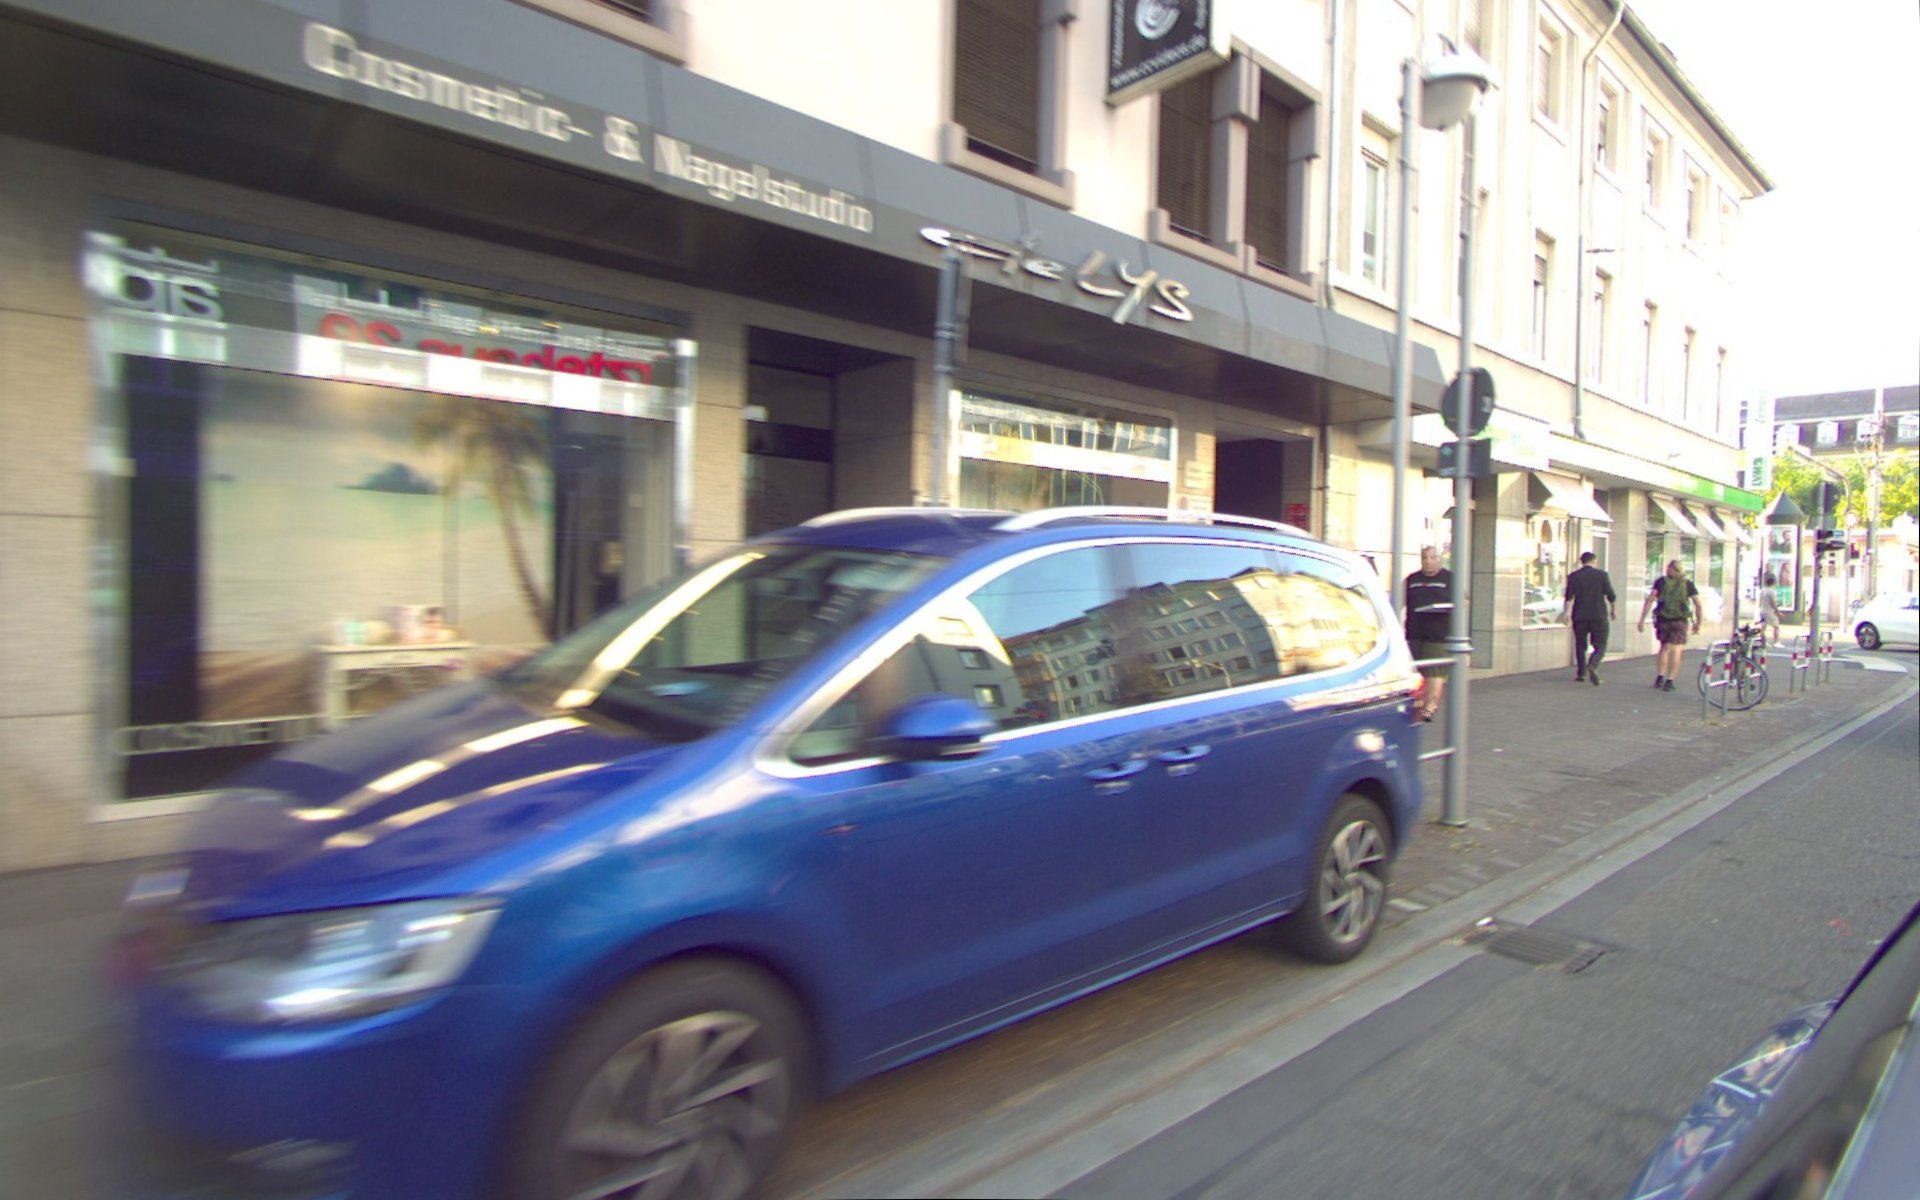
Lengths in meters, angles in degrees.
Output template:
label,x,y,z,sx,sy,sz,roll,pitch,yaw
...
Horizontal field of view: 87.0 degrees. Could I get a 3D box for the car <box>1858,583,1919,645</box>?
label,x,y,z,sx,sy,sz,roll,pitch,yaw
car,23.812,0.337,23.857,1.795,1.490,3.983,0,1,2

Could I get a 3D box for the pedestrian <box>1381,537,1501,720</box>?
label,x,y,z,sx,sy,sz,roll,pitch,yaw
pedestrian,5.100,0.269,10.741,0.911,1.828,0.768,0,3,-39

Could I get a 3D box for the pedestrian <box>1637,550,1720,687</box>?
label,x,y,z,sx,sy,sz,roll,pitch,yaw
pedestrian,10.170,0.234,14.318,0.836,1.851,0.738,0,3,-43

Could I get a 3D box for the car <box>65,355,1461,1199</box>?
label,x,y,z,sx,sy,sz,roll,pitch,yaw
car,-0.208,0.458,3.666,4.496,1.748,1.998,-1,3,-41

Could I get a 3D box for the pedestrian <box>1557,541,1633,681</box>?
label,x,y,z,sx,sy,sz,roll,pitch,yaw
pedestrian,9.225,0.135,14.695,0.864,1.951,0.662,0,2,-43

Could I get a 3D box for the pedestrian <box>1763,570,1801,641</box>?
label,x,y,z,sx,sy,sz,roll,pitch,yaw
pedestrian,20.898,0.123,25.730,0.690,1.764,0.645,2,1,37

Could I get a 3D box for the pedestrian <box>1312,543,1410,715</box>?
label,x,y,z,sx,sy,sz,roll,pitch,yaw
pedestrian,4.263,0.285,10.782,0.666,1.739,0.651,0,4,-40

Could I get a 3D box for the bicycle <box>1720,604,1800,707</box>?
label,x,y,z,sx,sy,sz,roll,pitch,yaw
bicycle,9.913,0.651,12.527,1.465,1.161,0.534,-1,2,-43
